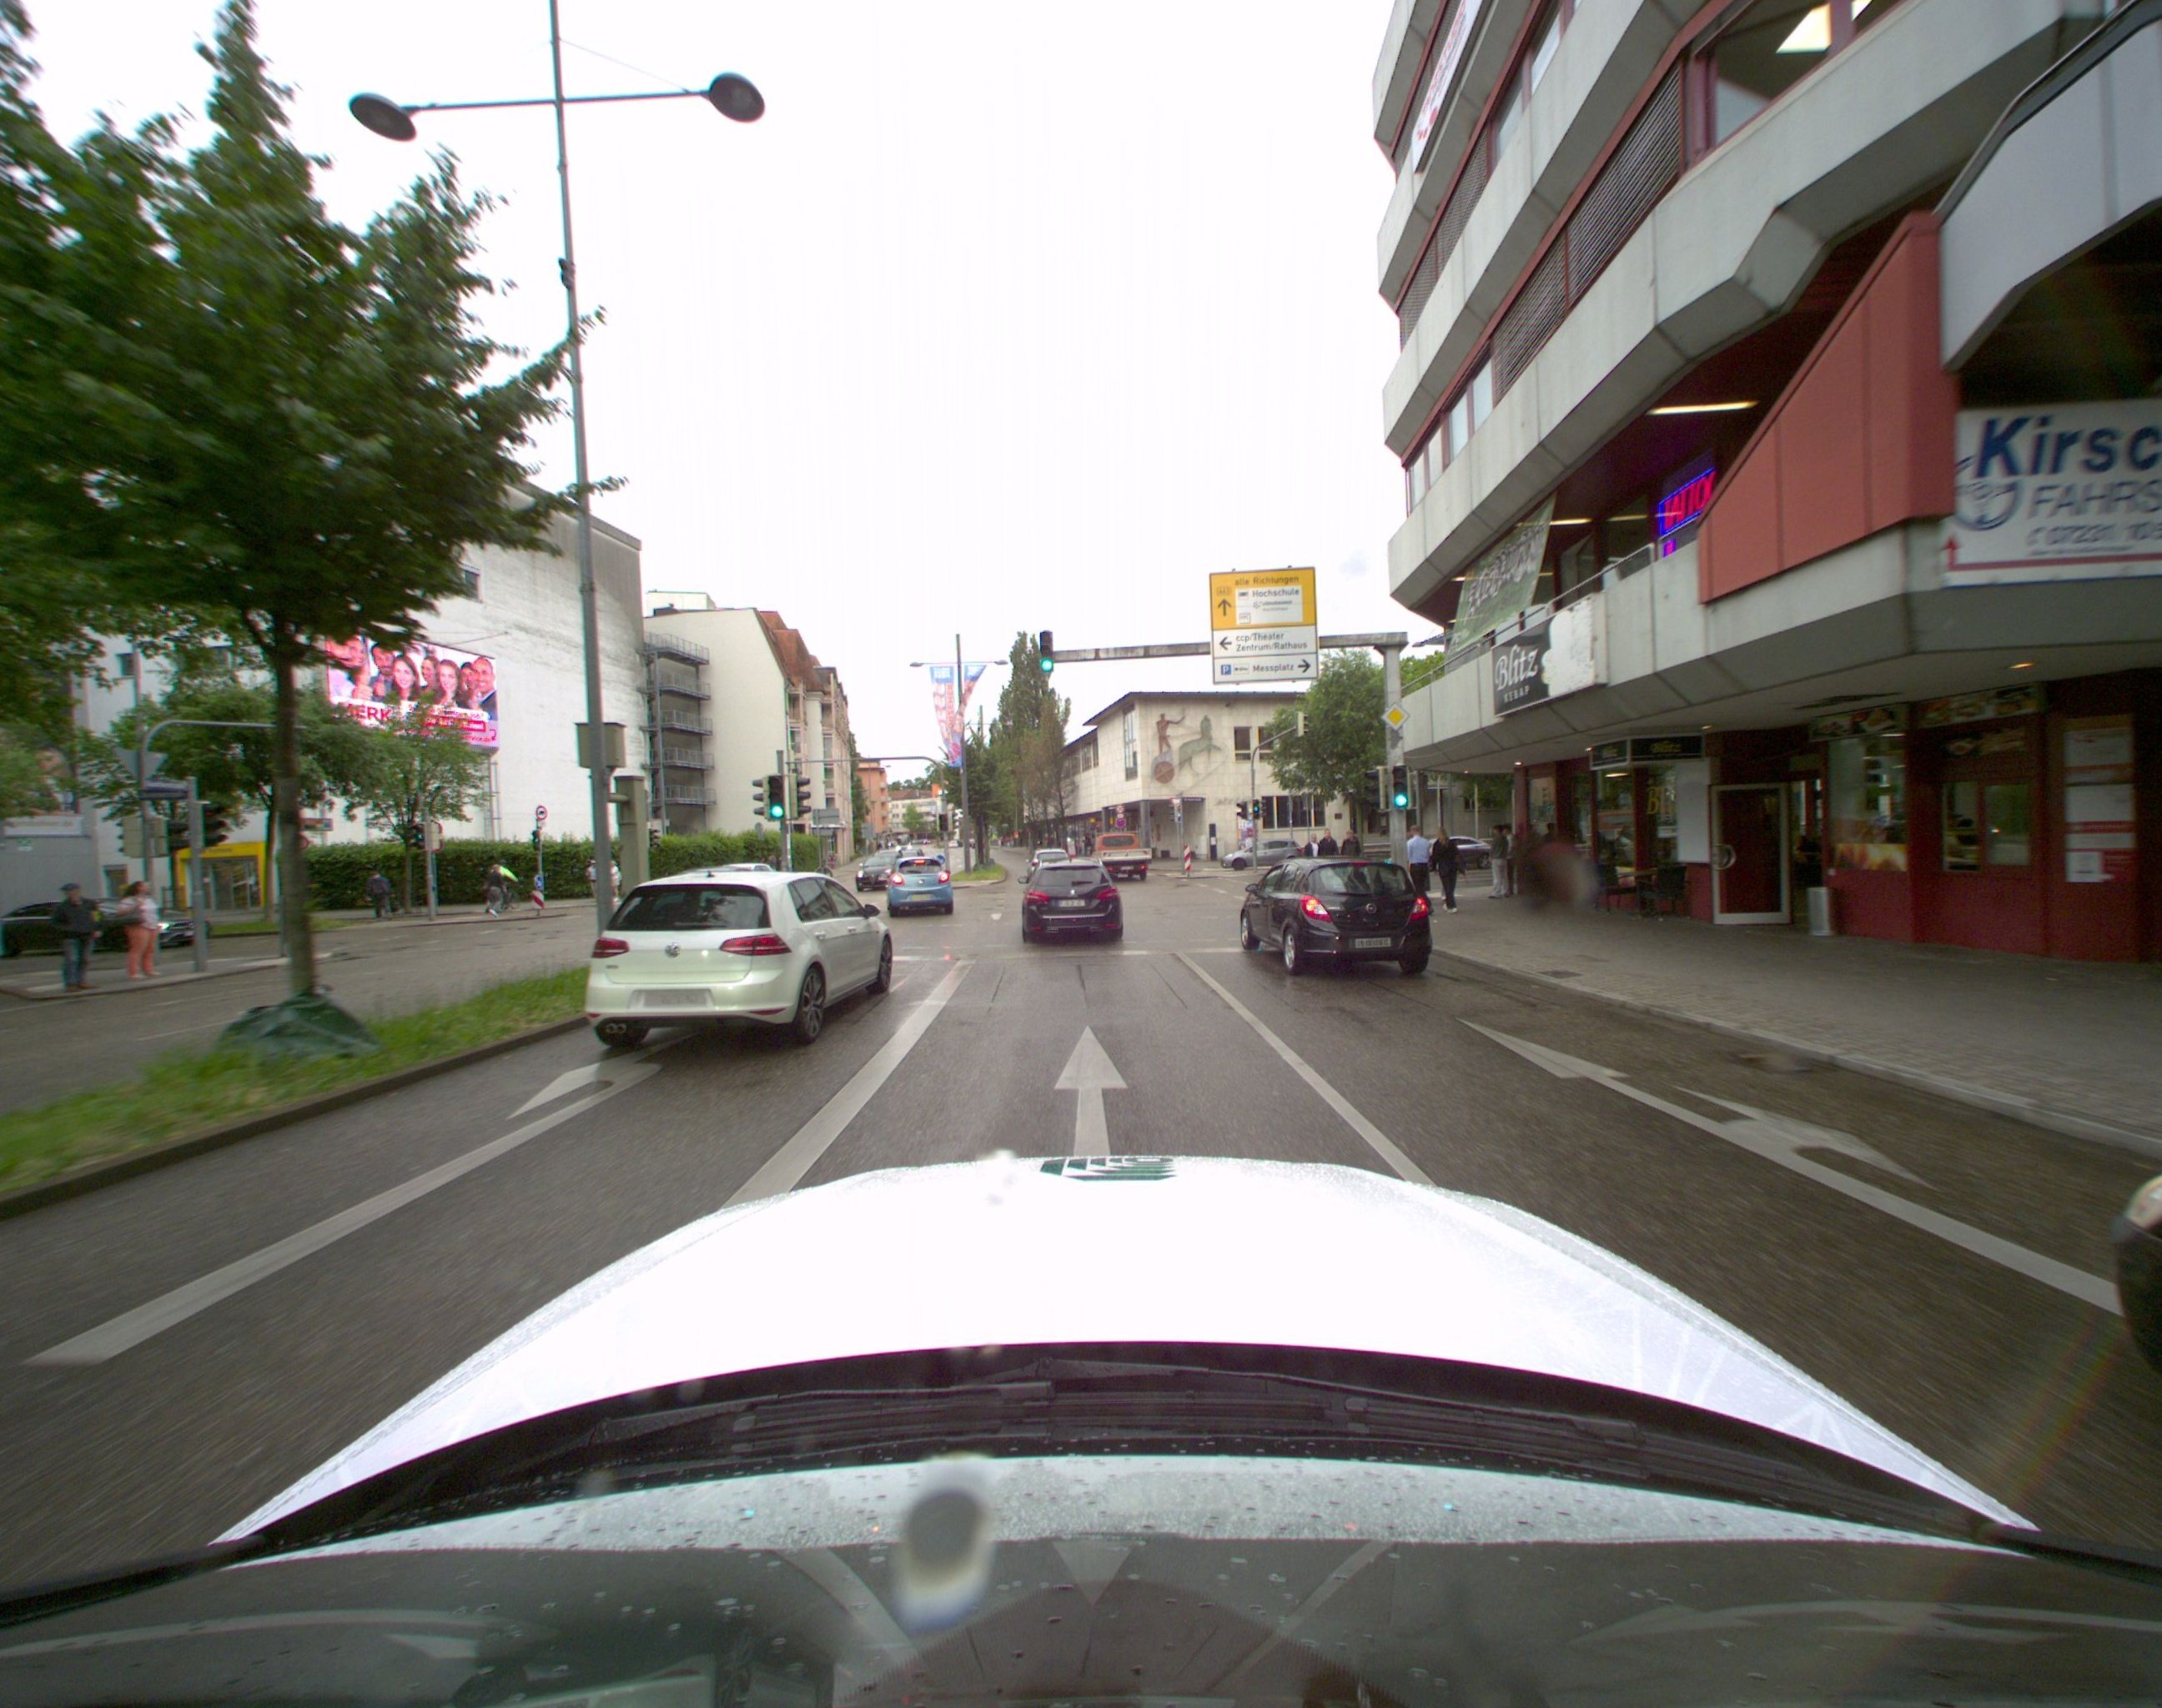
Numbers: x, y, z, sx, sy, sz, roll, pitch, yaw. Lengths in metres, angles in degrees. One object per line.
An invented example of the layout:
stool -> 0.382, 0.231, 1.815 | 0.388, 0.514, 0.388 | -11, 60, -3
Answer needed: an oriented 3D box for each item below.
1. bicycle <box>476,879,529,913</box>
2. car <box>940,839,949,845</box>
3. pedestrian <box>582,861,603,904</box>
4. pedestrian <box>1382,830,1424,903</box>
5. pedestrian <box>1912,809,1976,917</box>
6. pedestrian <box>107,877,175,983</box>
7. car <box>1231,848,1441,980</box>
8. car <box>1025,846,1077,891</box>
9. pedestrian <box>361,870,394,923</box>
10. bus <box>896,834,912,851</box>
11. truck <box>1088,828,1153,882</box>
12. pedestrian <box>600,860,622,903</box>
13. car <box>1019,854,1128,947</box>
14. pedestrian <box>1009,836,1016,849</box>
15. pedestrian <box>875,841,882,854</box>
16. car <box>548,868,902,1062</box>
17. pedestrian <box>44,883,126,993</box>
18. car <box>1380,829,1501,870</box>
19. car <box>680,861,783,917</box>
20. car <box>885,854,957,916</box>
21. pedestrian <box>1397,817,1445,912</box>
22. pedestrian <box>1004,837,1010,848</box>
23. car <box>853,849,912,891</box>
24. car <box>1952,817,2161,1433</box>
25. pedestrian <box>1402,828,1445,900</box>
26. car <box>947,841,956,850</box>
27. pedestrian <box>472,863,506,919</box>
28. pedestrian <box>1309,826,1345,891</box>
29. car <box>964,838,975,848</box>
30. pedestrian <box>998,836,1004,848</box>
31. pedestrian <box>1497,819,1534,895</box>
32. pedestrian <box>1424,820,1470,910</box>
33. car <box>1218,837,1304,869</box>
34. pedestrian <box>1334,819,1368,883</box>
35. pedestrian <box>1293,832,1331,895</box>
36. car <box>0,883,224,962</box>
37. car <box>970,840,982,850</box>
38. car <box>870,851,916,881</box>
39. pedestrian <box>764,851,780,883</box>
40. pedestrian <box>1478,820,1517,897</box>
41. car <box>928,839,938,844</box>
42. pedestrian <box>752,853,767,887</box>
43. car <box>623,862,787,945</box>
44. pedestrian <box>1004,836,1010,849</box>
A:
bicycle -> -22.093, 1.579, 31.154 | 0.649, 1.110, 2.054 | -2, 1, -5
car -> -40.191, -3.507, 239.874 | 1.997, 1.683, 3.981 | -3, 1, -14
pedestrian -> -20.389, 1.173, 34.010 | 0.525, 1.764, 0.592 | 0, 1, -2
pedestrian -> 7.709, 0.285, 19.513 | 0.571, 1.663, 0.941 | -4, 1, 3
pedestrian -> 12.247, 0.129, 11.555 | 0.461, 1.487, 0.503 | -3, -2, -38
pedestrian -> -16.974, 1.351, 14.717 | 0.446, 1.837, 0.675 | -2, -2, -4
car -> 3.317, 0.679, 11.333 | 1.703, 1.457, 3.741 | -1, 1, -1
car -> -1.203, 0.495, 30.870 | 1.792, 1.483, 3.994 | -3, 1, -4
pedestrian -> -24.262, 1.455, 28.091 | 0.799, 1.781, 0.645 | -1, -3, -45
bus -> -36.467, -2.363, 167.383 | 2.748, 3.075, 12.182 | -3, 3, -14
truck -> 1.591, 0.028, 34.290 | 2.118, 2.025, 4.709 | -3, 0, -4
pedestrian -> -19.698, 1.132, 34.134 | 0.525, 1.764, 0.592 | 1, 0, -2
car -> -0.129, 0.761, 15.452 | 1.789, 1.483, 3.999 | -1, 0, 0
pedestrian -> -9.747, -1.657, 115.955 | 0.699, 1.801, 0.604 | -4, 2, -12
pedestrian -> -28.301, -0.900, 113.788 | 0.698, 1.793, 0.955 | -2, 0, -9
car -> -3.129, 0.871, 8.160 | 1.759, 1.409, 4.000 | 0, 0, 0
pedestrian -> -16.859, 1.405, 13.805 | 0.410, 1.763, 0.676 | -2, 2, -2
car -> 14.556, -0.196, 33.053 | 4.264, 1.420, 1.780 | -3, 1, -13
car -> -11.254, 1.077, 26.516 | 1.666, 1.515, 3.643 | -4, 0, 0
car -> -4.401, 0.765, 22.045 | 1.698, 1.474, 3.672 | -1, 1, -15
pedestrian -> 6.858, 0.212, 16.460 | 0.619, 1.847, 0.849 | -2, -1, 7
pedestrian -> -11.125, -1.793, 121.997 | 0.726, 1.589, 0.604 | -4, 2, -12
car -> -8.296, 0.611, 34.319 | 1.618, 1.555, 3.658 | -3, 1, -1
car -> 3.280, 0.655, 0.544 | 1.586, 1.440, 3.629 | -2, 1, 1
pedestrian -> 8.460, 0.241, 20.127 | 0.586, 1.706, 0.971 | -4, 1, 3
car -> -25.111, -1.596, 157.887 | 1.646, 1.564, 3.585 | 0, -2, -12
pedestrian -> -19.033, 1.194, 26.191 | 0.645, 1.764, 0.591 | -2, -2, -5
pedestrian -> 7.429, 0.125, 24.648 | 0.756, 1.901, 0.790 | -3, -1, 0
car -> -19.729, -1.980, 143.865 | 1.646, 1.564, 3.585 | 0, -2, -12
pedestrian -> -11.927, -1.801, 121.847 | 0.718, 1.619, 0.766 | -4, 2, -12
pedestrian -> 10.297, 0.075, 19.302 | 0.524, 1.763, 0.511 | -2, -1, 1
pedestrian -> 7.445, 0.232, 16.587 | 0.619, 1.773, 0.678 | -2, -1, 6
car -> 8.773, -0.049, 39.776 | 3.960, 1.477, 2.007 | -1, 0, 12
pedestrian -> 8.173, -0.082, 24.690 | 0.730, 1.895, 0.676 | -3, -1, -1
pedestrian -> 6.782, 0.278, 23.945 | 0.747, 1.779, 0.887 | -2, -1, -3
car -> -25.791, 1.771, 21.774 | 3.589, 1.695, 1.632 | -3, 2, -9
car -> -16.505, -1.398, 128.379 | 1.646, 1.564, 3.585 | 0, -2, -12
car -> -11.627, 0.706, 50.756 | 1.822, 1.736, 4.309 | -3, 0, -1
pedestrian -> -17.181, 0.726, 45.229 | 0.640, 1.764, 0.592 | -2, -2, -4
pedestrian -> 9.727, 0.109, 19.029 | 0.593, 1.763, 0.493 | -2, -1, 1
car -> -45.604, -3.831, 250.440 | 1.657, 1.564, 3.560 | 1, -2, -37
pedestrian -> -17.142, 0.845, 43.460 | 0.525, 1.764, 0.630 | -2, -2, -4
car -> -8.149, 1.000, 18.086 | 1.708, 1.478, 3.956 | -4, 0, 0
pedestrian -> -10.511, -1.611, 115.758 | 0.654, 1.767, 0.919 | -4, 2, -12
